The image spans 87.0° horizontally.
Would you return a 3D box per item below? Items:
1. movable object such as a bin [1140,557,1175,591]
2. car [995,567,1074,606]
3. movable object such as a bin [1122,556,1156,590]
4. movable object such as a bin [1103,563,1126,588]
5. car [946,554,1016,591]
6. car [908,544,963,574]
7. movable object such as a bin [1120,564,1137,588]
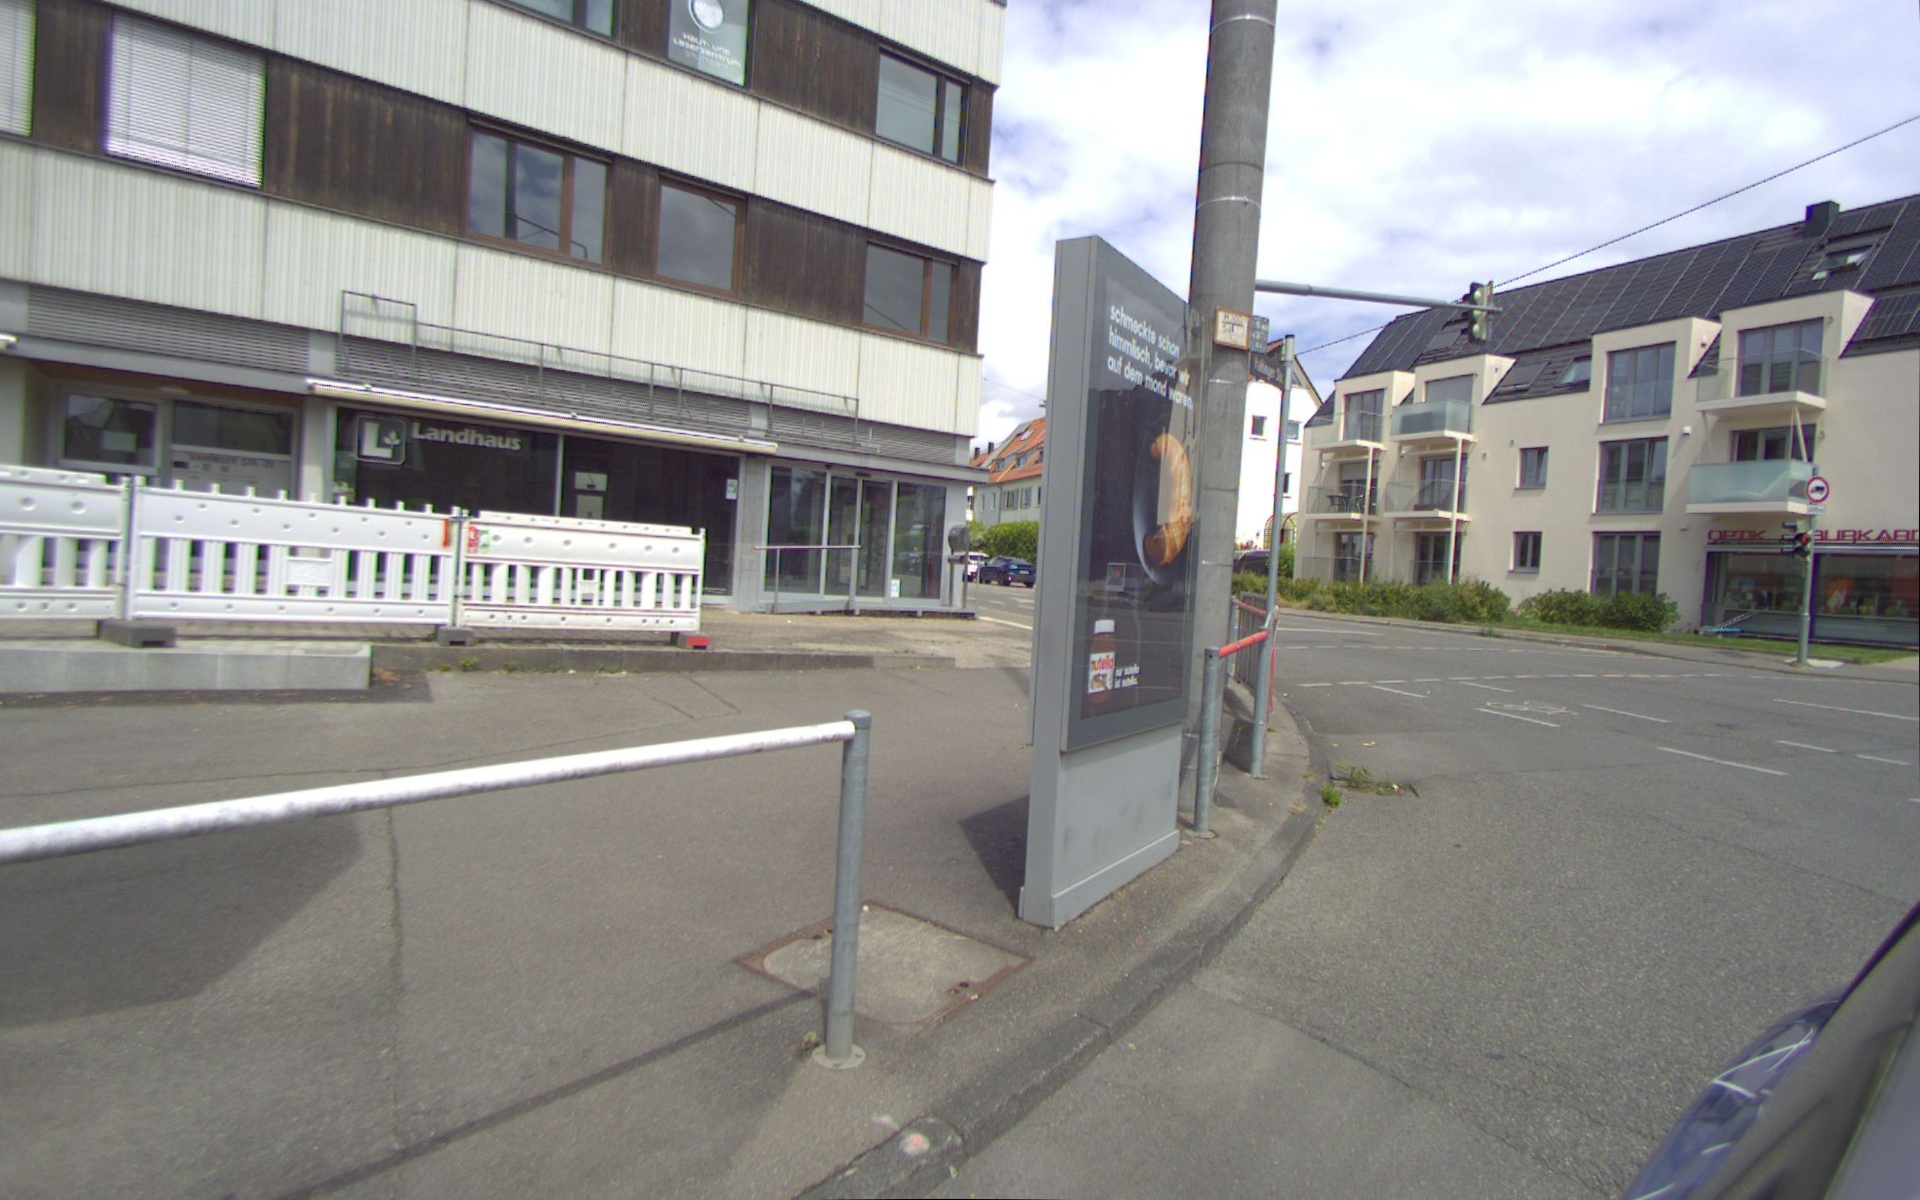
[{"bbox_3d":[8.561,-1.132,43.879,1.070,1.379,0.983,2,2,-21],"label":"movable object such as a bin"},{"bbox_3d":[3.405,-0.659,47.161,1.782,1.519,4.464,2,3,-23],"label":"car"},{"bbox_3d":[8.012,-1.218,45.312,1.070,1.464,0.983,2,2,-21],"label":"movable object such as a bin"},{"bbox_3d":[7.038,-1.130,46.102,0.748,1.078,0.694,2,2,-14],"label":"movable object such as a bin"},{"bbox_3d":[0.998,-1.419,51.618,1.958,1.653,4.465,2,3,-21],"label":"car"},{"bbox_3d":[-1.501,-2.504,61.126,1.958,1.653,4.248,2,3,-21],"label":"car"},{"bbox_3d":[7.712,-1.091,46.214,0.519,1.078,0.649,4,3,30],"label":"movable object such as a bin"}]
